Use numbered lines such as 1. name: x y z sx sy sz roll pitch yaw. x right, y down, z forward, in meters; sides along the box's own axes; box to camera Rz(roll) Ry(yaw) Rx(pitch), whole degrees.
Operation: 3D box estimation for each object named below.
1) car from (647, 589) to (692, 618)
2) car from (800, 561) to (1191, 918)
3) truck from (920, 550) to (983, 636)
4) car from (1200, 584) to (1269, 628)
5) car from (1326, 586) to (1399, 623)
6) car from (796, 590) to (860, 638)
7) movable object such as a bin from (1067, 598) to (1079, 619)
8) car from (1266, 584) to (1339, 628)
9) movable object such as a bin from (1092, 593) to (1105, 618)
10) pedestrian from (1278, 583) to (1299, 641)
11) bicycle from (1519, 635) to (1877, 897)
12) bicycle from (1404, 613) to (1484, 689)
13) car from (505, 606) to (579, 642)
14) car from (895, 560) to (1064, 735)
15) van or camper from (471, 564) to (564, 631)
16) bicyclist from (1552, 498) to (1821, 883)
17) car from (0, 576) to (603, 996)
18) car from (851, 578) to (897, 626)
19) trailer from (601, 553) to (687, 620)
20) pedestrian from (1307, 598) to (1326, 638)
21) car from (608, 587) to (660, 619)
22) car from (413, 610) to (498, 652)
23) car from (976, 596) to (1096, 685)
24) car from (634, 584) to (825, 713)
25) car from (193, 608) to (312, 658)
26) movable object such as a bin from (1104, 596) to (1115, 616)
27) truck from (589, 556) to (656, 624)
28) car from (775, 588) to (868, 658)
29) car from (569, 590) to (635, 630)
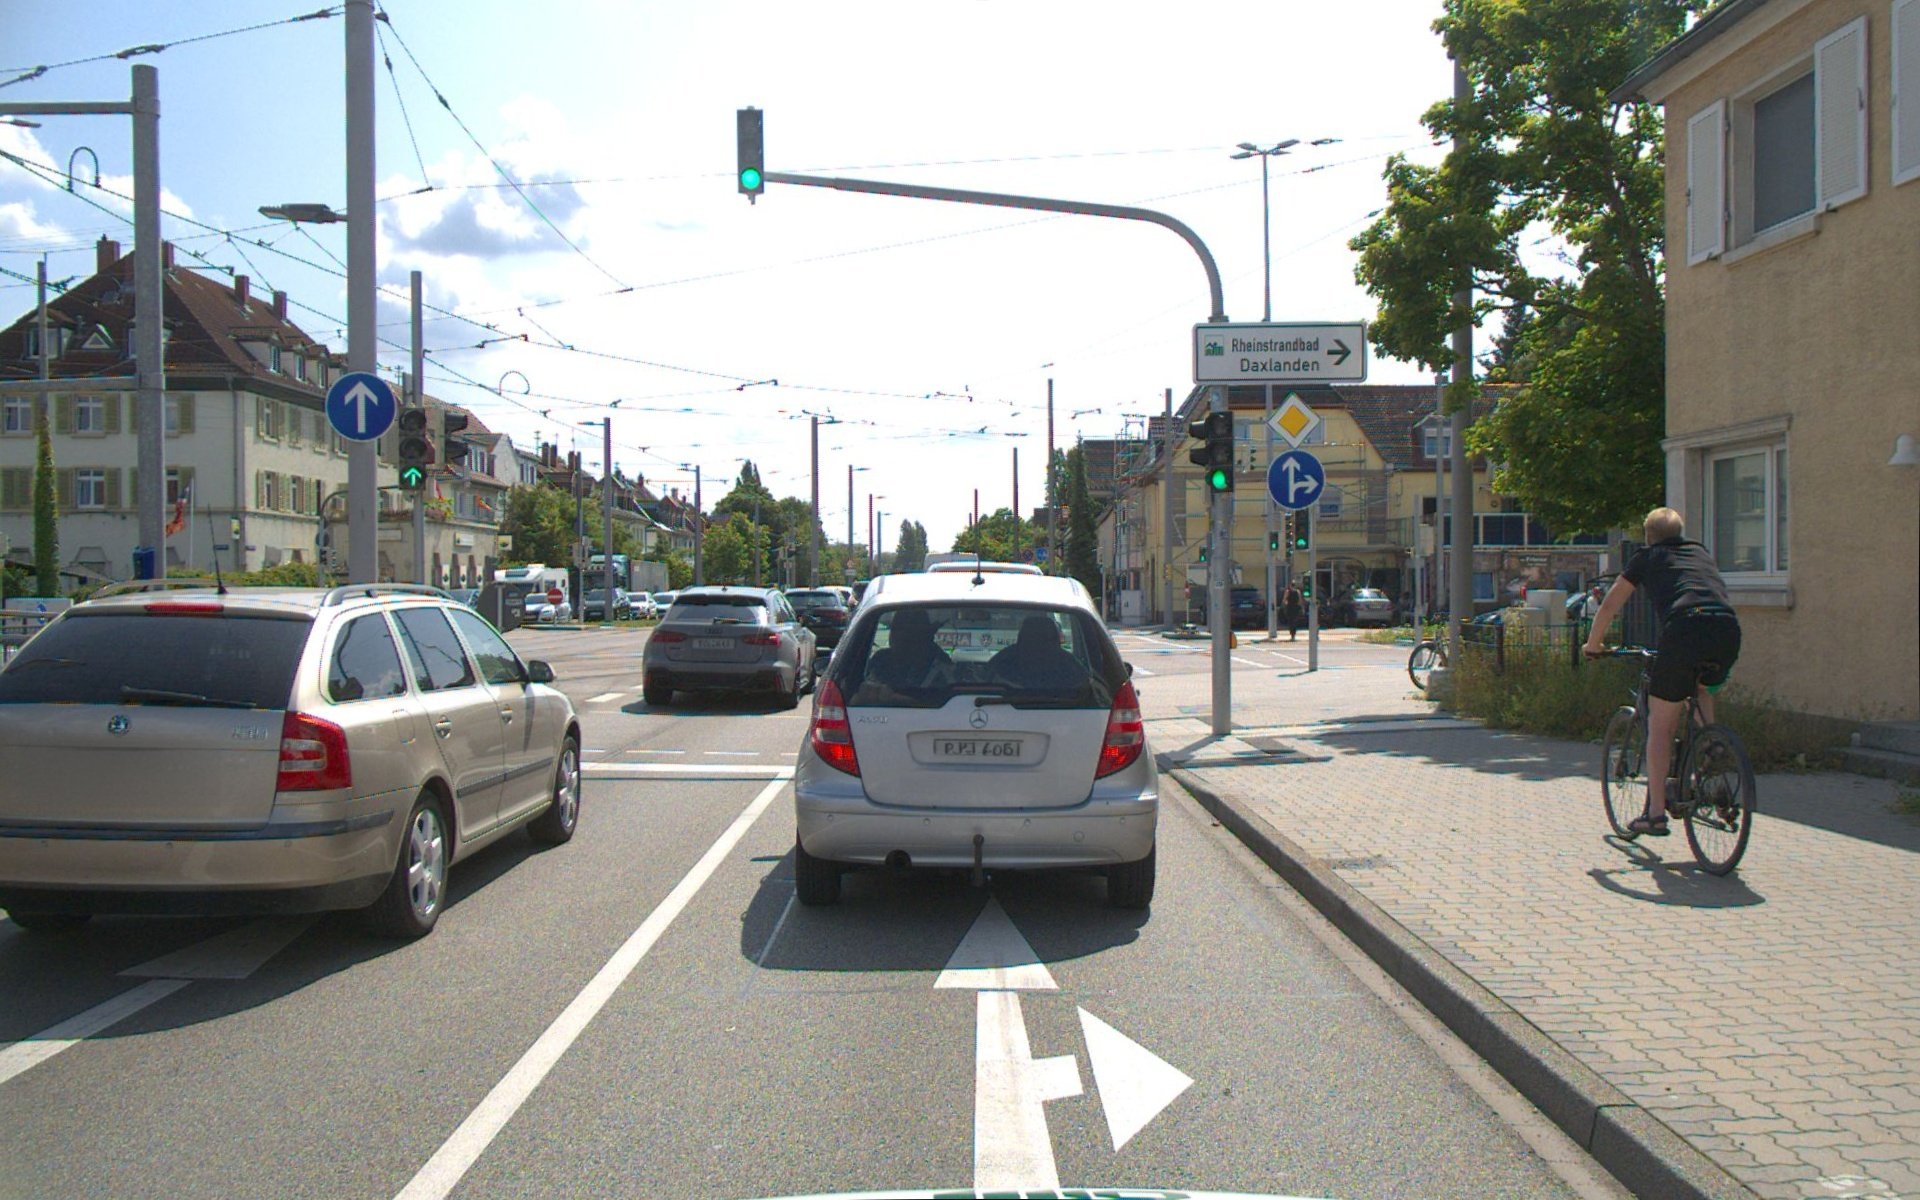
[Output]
1. car: -17.343 0.201 98.907 1.757 1.665 4.472 -1 0 1
2. car: 0.064 0.626 9.263 1.695 1.543 4.014 1 0 -3
3. truck: -0.329 -0.194 53.317 1.815 2.597 5.852 1 0 -2
4. car: 10.721 0.234 64.843 1.953 1.624 4.130 1 0 0
5. car: 15.834 0.188 65.258 1.829 1.375 4.130 1 0 0
6. car: -4.084 0.428 51.659 1.815 1.413 3.916 1 0 -2
7. movable object such as a bin: 5.138 0.390 75.464 0.501 0.934 0.741 0 -1 0
8. car: 13.428 0.247 65.094 1.953 1.624 4.130 1 0 0
9. movable object such as a bin: 6.323 0.266 75.588 0.501 1.124 0.855 0 -1 0
10. pedestrian: 9.603 0.340 48.341 0.535 1.672 0.401 1 -1 4
11. bicycle: 3.696 0.772 8.509 0.812 1.094 1.969 -2 1 -5
12. bicycle: 6.946 0.723 23.692 0.455 1.036 1.747 0 -1 38
13. car: -17.236 0.977 68.392 1.953 1.375 4.177 1 0 0
14. car: 0.125 0.507 19.186 1.695 1.793 4.014 1 0 -3
15. van or camper: -20.755 -0.129 78.037 2.276 2.981 7.754 -1 0 0
16. bicyclist: 3.694 0.428 8.507 0.812 1.825 1.083 -2 1 -5
17. car: -3.015 0.674 7.961 1.696 1.474 4.122 1 0 0
18. car: -3.523 0.100 68.065 1.815 1.875 3.916 1 0 -2
19. trailer: -20.043 -0.915 105.891 2.545 3.887 12.840 -3 1 2
20. pedestrian: 10.421 0.520 48.327 0.477 1.156 0.389 1 -1 5
21. car: -17.680 0.153 89.843 1.953 1.579 4.177 -4 0 0
22. car: -17.531 1.060 57.676 1.650 1.375 4.177 1 0 0
23. car: 1.386 0.668 28.729 1.693 1.428 4.019 0 -1 8
24. car: -2.920 0.583 21.943 1.877 1.503 4.562 1 0 0
25. car: -20.946 0.943 49.131 1.650 1.375 4.345 1 0 0
26. movable object such as a bin: 7.352 0.277 81.255 0.458 0.963 0.558 -1 -1 -1
27. truck: -20.213 -0.634 99.309 2.545 3.887 5.669 -3 1 2
28. car: -2.992 0.483 36.549 1.815 1.413 4.512 1 0 -2
29. car: -17.380 0.437 80.500 1.952 1.807 4.879 -2 0 2
